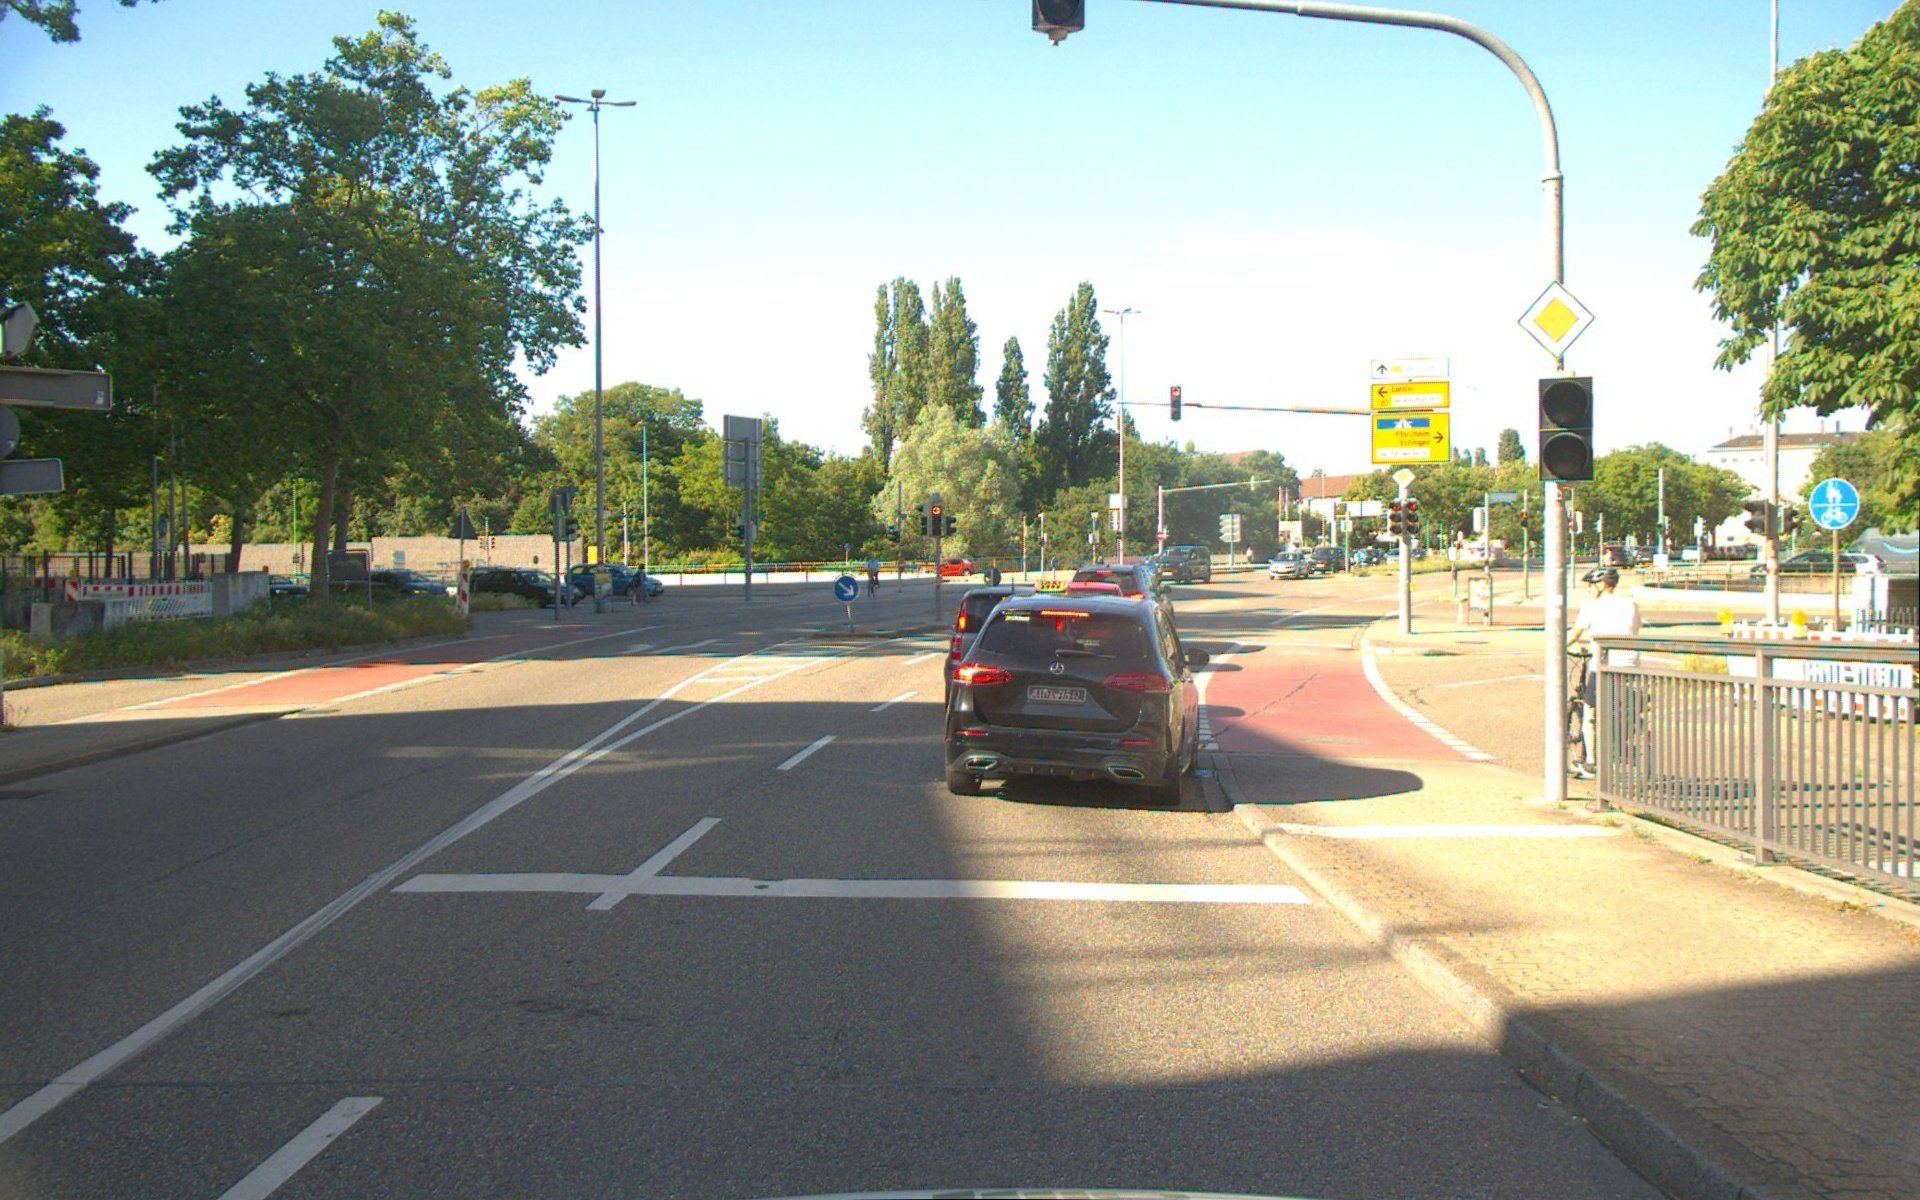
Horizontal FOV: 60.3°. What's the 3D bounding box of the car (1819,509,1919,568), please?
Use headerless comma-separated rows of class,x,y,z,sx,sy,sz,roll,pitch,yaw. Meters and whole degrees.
car,45.345,-3.005,81.633,2.233,2.653,4.831,1,-1,-33

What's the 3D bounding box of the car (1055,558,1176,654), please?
car,3.343,0.056,34.767,1.829,1.821,4.418,2,2,14

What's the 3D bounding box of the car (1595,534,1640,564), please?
car,44.767,-3.475,112.625,1.960,1.825,3.985,0,-1,35

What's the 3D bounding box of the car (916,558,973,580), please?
car,-1.126,-2.279,119.822,3.910,1.575,1.998,0,1,-6

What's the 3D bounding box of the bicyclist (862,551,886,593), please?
bicyclist,-3.626,-1.190,69.705,0.672,1.730,1.199,0,2,13

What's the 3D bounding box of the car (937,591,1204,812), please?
car,1.055,0.711,13.585,1.713,1.520,4.003,0,0,11

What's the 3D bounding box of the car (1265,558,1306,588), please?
car,18.171,-1.540,92.229,1.782,1.610,4.107,0,2,17

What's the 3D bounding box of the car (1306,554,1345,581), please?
car,22.569,-2.033,102.124,1.688,1.610,4.004,0,2,22

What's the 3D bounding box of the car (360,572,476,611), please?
car,-21.239,-0.349,64.804,4.351,1.463,1.824,0,2,28

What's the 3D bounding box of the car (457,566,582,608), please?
car,-16.226,-0.468,60.883,4.351,1.463,1.824,0,2,28

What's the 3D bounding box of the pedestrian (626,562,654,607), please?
pedestrian,-11.852,-0.553,61.242,0.672,1.565,1.366,1,-3,3

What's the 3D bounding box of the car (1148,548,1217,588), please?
car,11.536,-1.684,85.383,1.955,1.969,4.845,0,2,28

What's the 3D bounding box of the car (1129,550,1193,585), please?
car,11.307,-1.868,92.837,1.955,1.897,4.845,0,2,28

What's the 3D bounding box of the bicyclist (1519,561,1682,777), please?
bicyclist,5.402,0.557,14.015,0.785,1.734,1.083,2,1,-10

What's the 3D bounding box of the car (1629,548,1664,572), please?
car,53.937,-3.181,129.955,1.957,1.825,3.992,0,1,31

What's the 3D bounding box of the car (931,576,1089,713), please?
car,0.600,0.482,21.029,1.782,1.515,4.001,-1,1,1

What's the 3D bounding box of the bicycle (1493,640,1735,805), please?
bicycle,5.397,0.968,13.863,0.784,1.130,2.398,0,2,-8

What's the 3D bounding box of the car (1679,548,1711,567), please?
car,64.988,-3.780,146.136,1.959,1.668,3.988,0,1,34

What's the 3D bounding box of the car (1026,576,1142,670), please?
car,2.267,0.348,29.332,1.781,1.505,4.004,1,1,8

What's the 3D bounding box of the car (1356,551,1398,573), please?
car,28.428,-2.582,112.641,1.954,1.478,3.996,0,1,26

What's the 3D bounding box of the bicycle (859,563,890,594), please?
bicycle,-3.600,-0.915,69.812,0.672,1.223,2.329,0,3,13

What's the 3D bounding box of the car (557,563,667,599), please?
car,-14.887,-0.827,70.738,4.347,1.463,1.825,0,2,24
